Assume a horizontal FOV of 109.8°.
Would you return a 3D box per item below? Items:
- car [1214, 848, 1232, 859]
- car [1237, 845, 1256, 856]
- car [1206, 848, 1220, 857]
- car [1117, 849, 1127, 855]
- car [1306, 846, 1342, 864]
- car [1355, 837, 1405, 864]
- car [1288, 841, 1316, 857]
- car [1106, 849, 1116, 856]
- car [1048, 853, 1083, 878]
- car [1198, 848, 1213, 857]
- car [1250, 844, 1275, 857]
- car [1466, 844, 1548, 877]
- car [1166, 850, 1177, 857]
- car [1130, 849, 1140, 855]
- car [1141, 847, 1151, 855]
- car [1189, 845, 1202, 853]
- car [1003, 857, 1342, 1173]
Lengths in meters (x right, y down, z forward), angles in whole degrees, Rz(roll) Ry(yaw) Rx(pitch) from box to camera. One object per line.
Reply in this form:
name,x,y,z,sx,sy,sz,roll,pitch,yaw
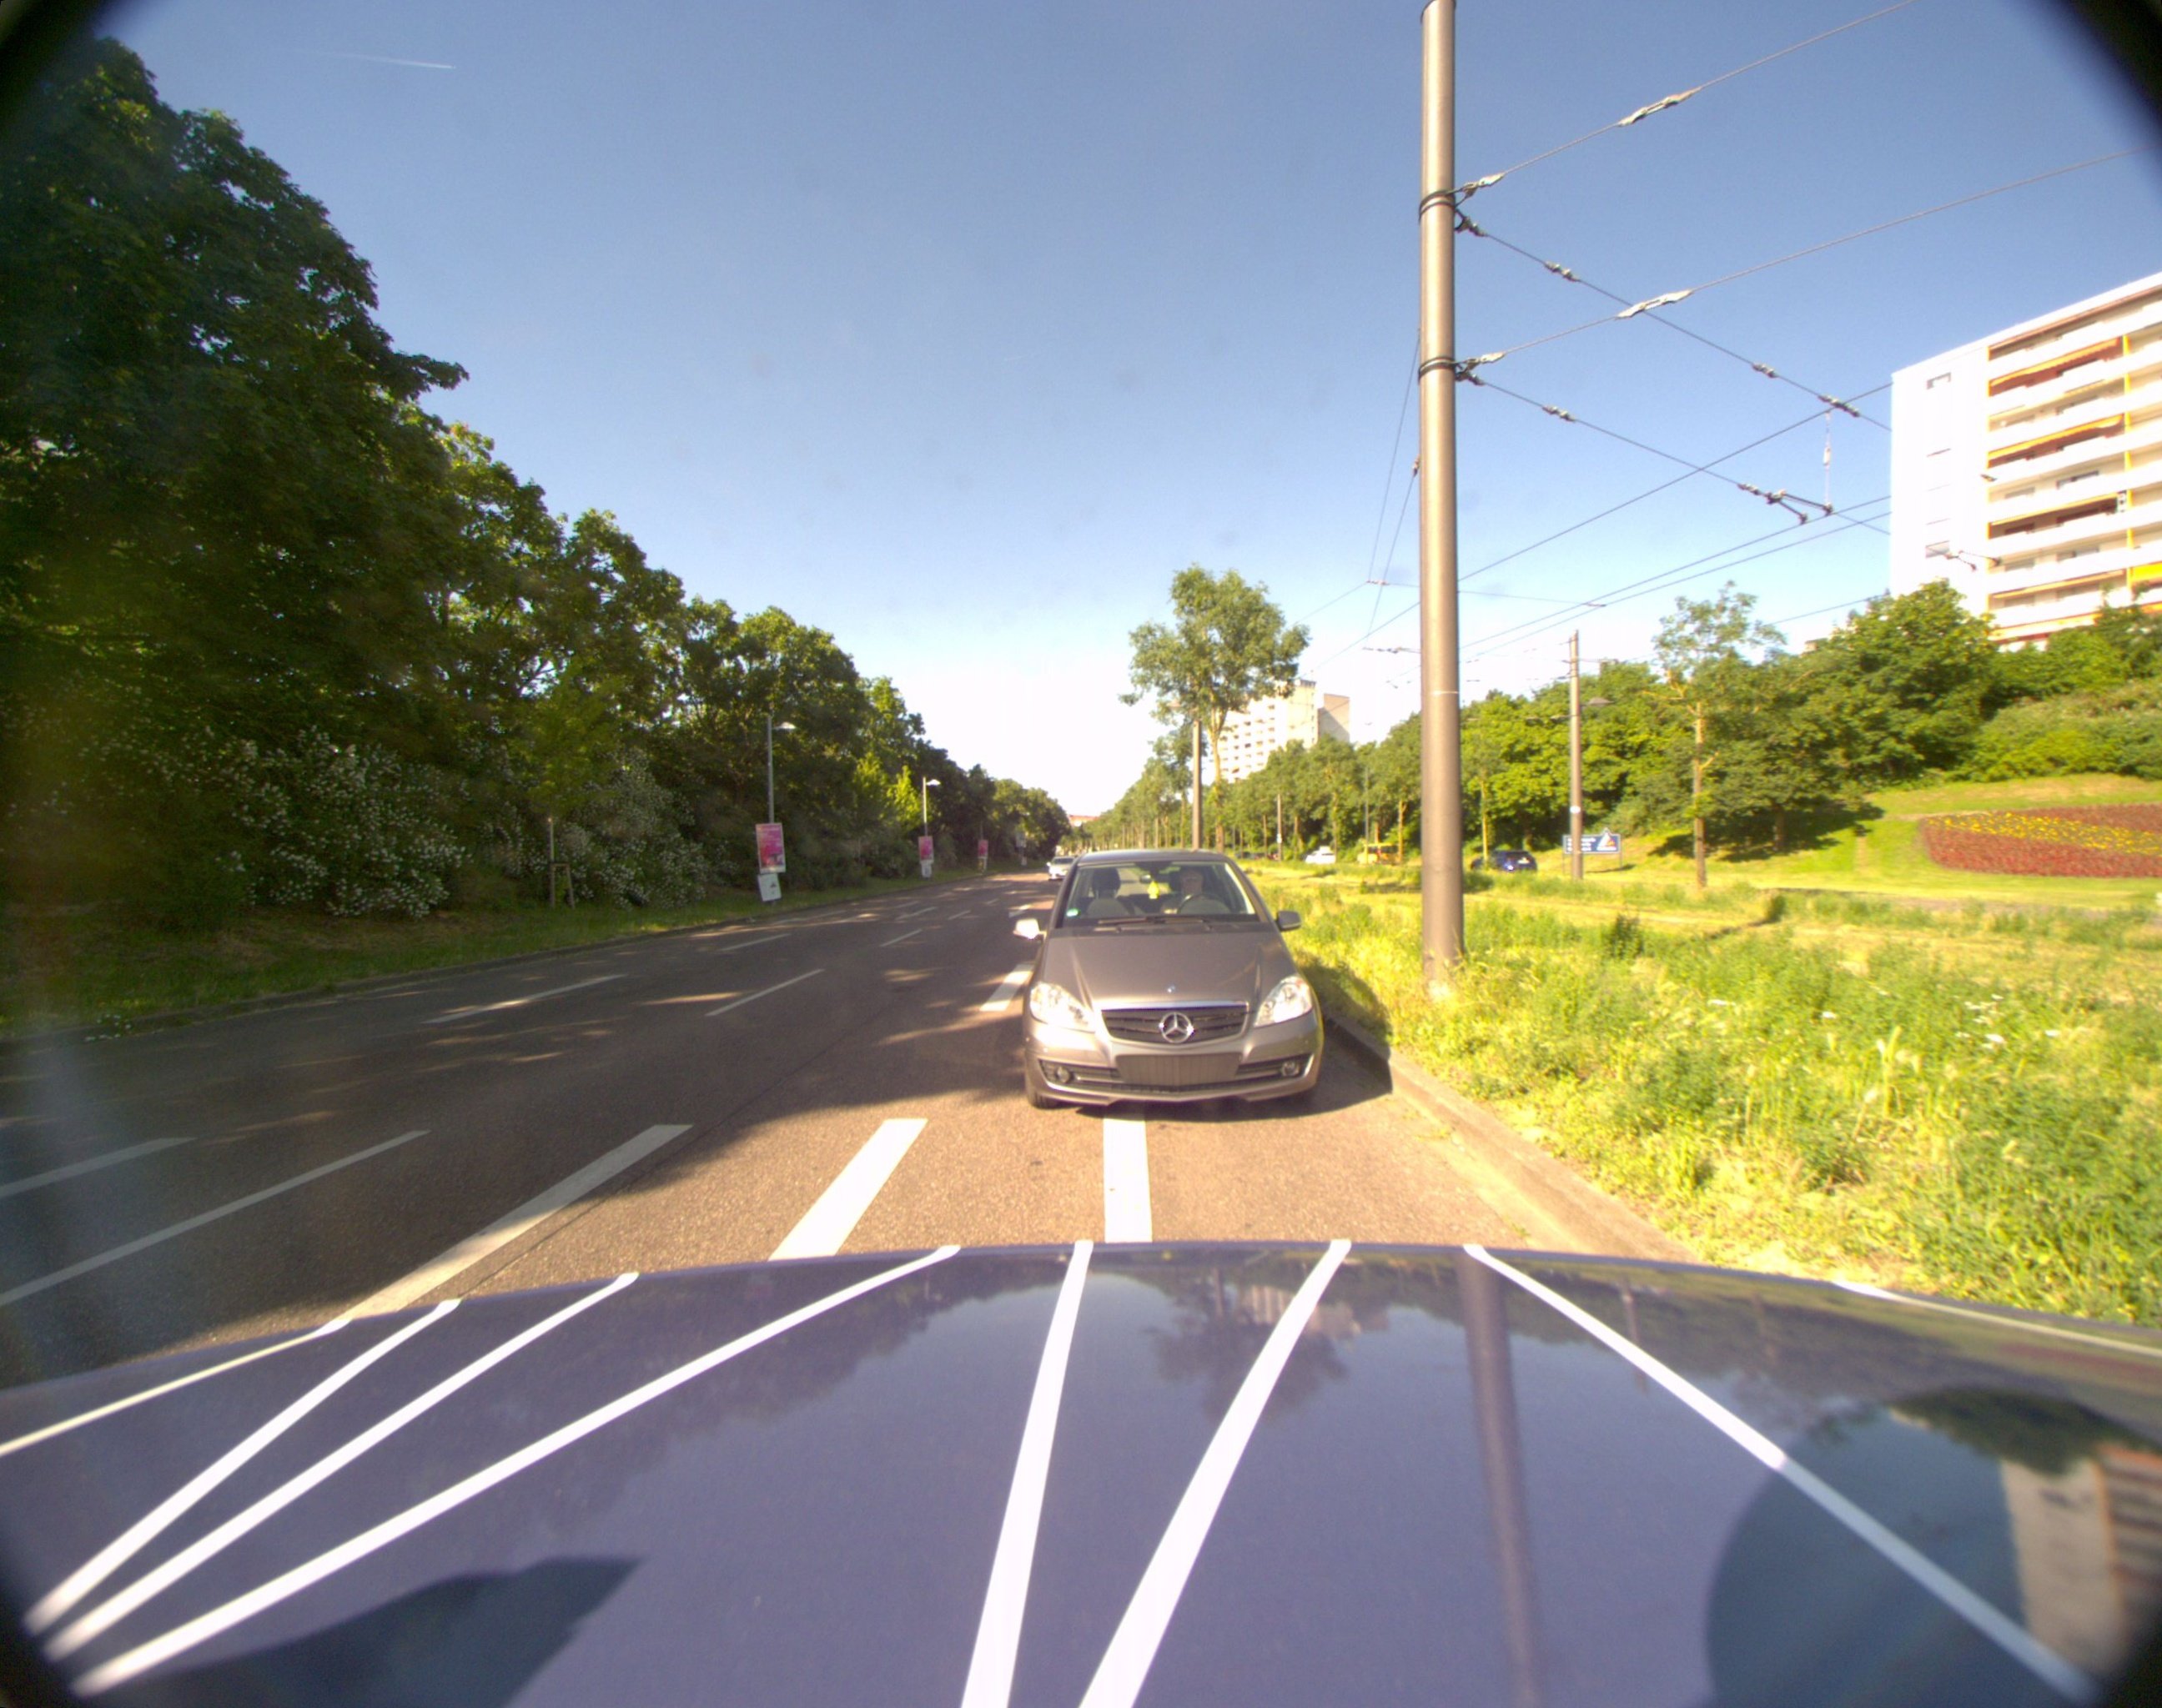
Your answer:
car,19.308,-0.099,103.572,1.867,1.410,4.000,-1,0,3
car,22.110,-0.457,101.705,1.867,1.410,4.000,-1,0,2
car,21.618,-0.224,124.523,1.740,1.368,4.001,-1,0,4
car,11.832,-0.604,219.716,1.912,1.652,3.994,-1,0,-16
car,19.637,0.081,61.519,1.693,1.398,4.022,-2,0,1
car,23.015,-0.251,58.719,1.998,1.955,4.907,-1,0,1
car,22.447,-0.499,77.329,1.792,1.499,4.241,-1,0,3
car,9.074,-0.507,229.946,2.000,2.002,3.996,-1,0,-11
car,-0.884,0.681,46.857,1.875,1.428,4.594,-1,0,2
car,19.526,-0.317,119.364,1.825,1.353,4.230,-1,0,3
car,19.877,-0.364,83.337,1.799,1.408,4.311,-2,0,3
car,22.142,0.334,39.722,1.998,1.565,4.107,-2,0,1
car,19.262,-0.091,162.167,1.802,1.455,4.000,-1,0,1
car,14.672,-0.597,207.296,1.910,1.652,3.997,-1,0,-7
car,15.079,-0.758,175.859,1.882,1.755,4.000,-1,0,1
car,21.574,-0.945,143.149,1.998,1.477,4.000,-1,0,1
car,0.507,0.855,5.925,1.759,1.612,3.880,-1,0,1
